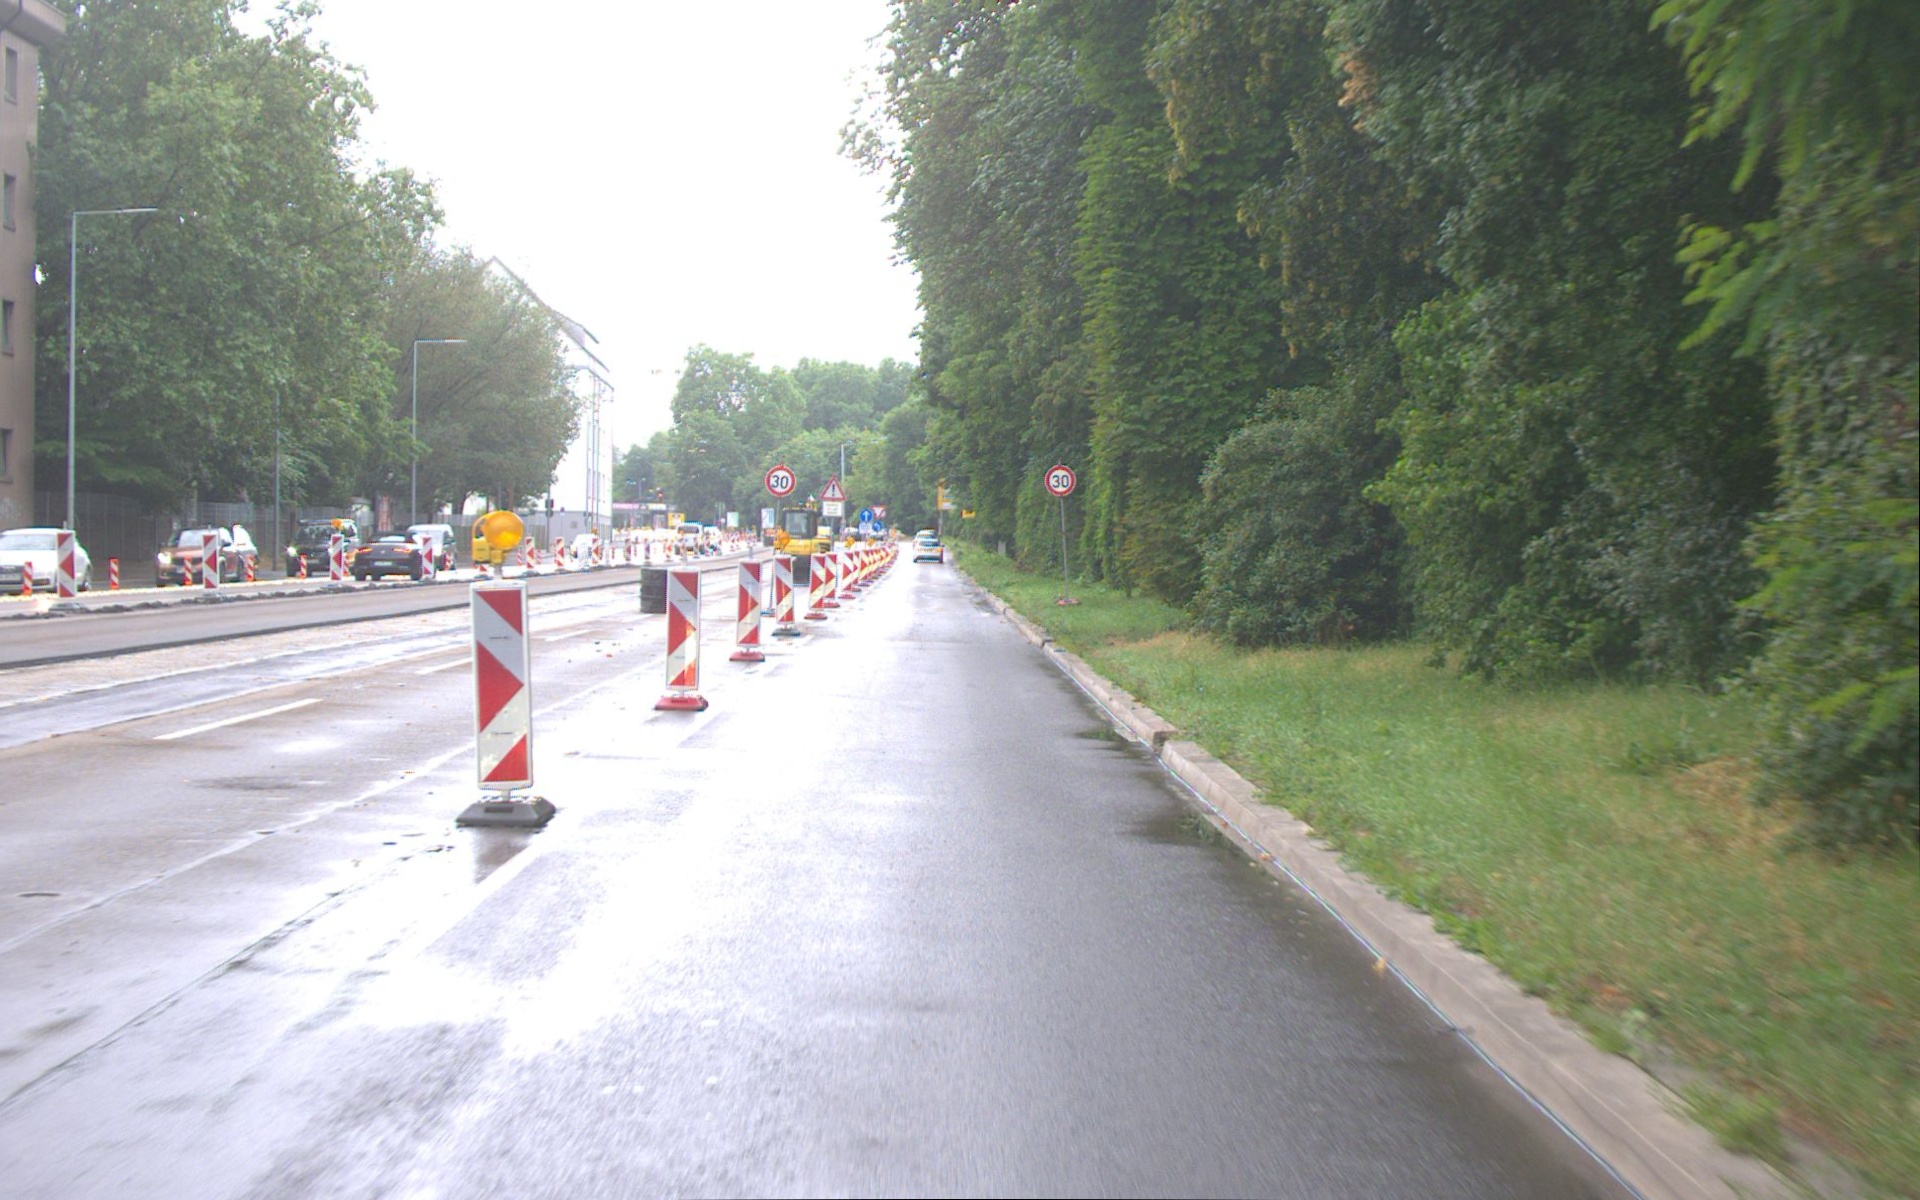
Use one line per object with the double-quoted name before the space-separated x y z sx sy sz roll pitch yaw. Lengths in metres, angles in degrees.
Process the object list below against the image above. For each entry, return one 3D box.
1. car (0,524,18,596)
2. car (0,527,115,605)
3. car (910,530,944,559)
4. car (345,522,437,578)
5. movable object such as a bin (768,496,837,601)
"car" -22.043 -0.916 74.708 1.993 1.581 4.179 2 1 -1
"car" -18.910 -0.712 71.276 1.803 1.529 3.992 2 1 -1
"car" -1.998 -3.350 209.254 1.993 1.667 4.000 2 1 0
"car" -16.249 -1.429 98.321 1.993 1.514 4.000 2 1 -1
"movable object such as a bin" -5.207 -1.703 114.430 1.993 3.356 5.982 2 1 0
